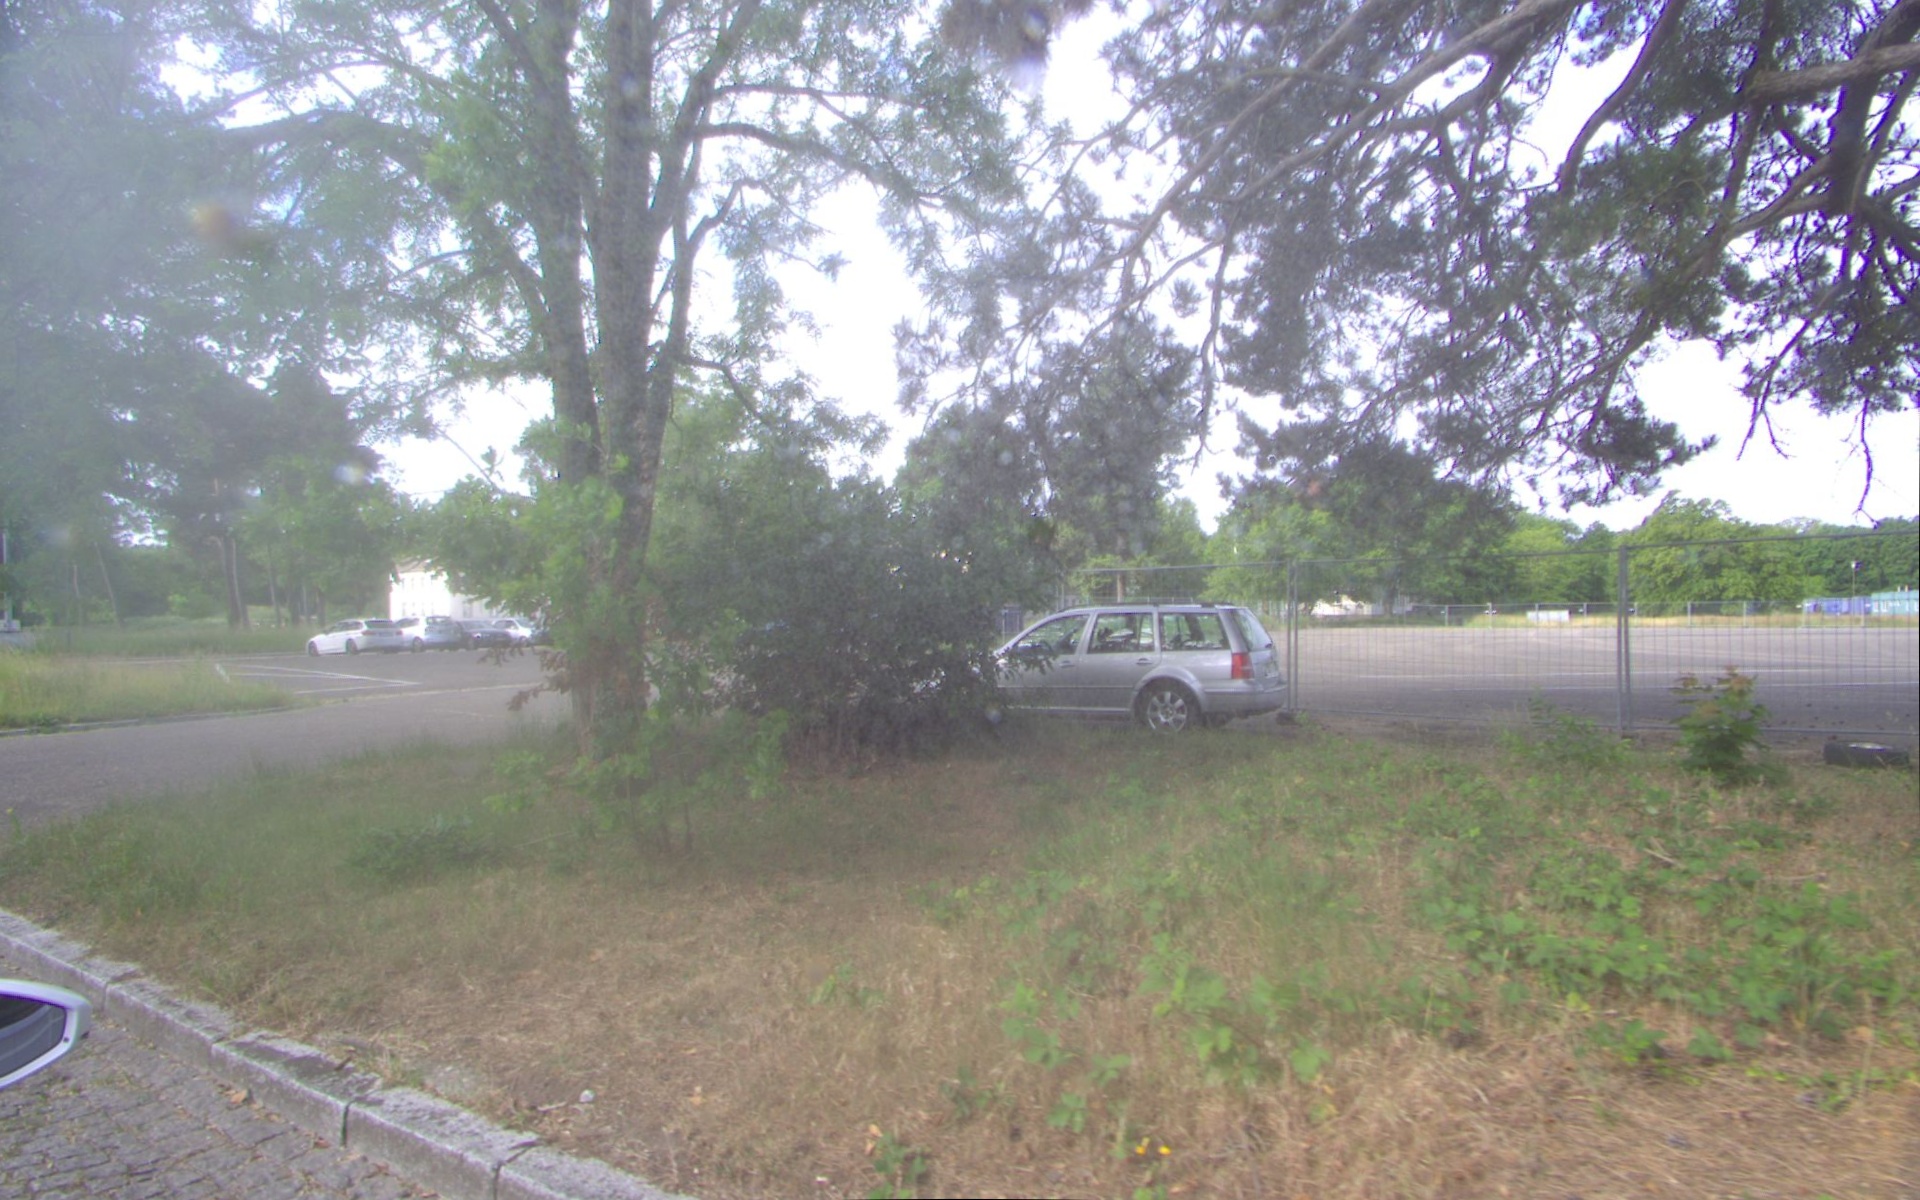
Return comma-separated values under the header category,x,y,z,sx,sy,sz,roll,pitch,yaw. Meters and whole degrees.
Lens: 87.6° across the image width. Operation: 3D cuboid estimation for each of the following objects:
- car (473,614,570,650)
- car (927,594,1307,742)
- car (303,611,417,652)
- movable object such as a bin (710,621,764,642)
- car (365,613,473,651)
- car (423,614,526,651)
category,x,y,z,sx,sy,sz,roll,pitch,yaw
car,-20.758,1.534,47.401,4.359,1.542,1.992,-2,-2,29
car,1.752,0.741,11.550,4.014,1.444,1.645,-1,-3,31
car,-24.123,1.276,40.242,4.359,1.500,1.991,-2,-1,29
movable object such as a bin,-9.179,1.286,41.184,1.928,0.836,1.181,-1,-1,37
car,-22.941,1.363,42.470,4.359,1.500,1.991,-2,-1,29
car,-21.773,1.457,44.886,4.359,1.500,1.991,-2,-1,29
